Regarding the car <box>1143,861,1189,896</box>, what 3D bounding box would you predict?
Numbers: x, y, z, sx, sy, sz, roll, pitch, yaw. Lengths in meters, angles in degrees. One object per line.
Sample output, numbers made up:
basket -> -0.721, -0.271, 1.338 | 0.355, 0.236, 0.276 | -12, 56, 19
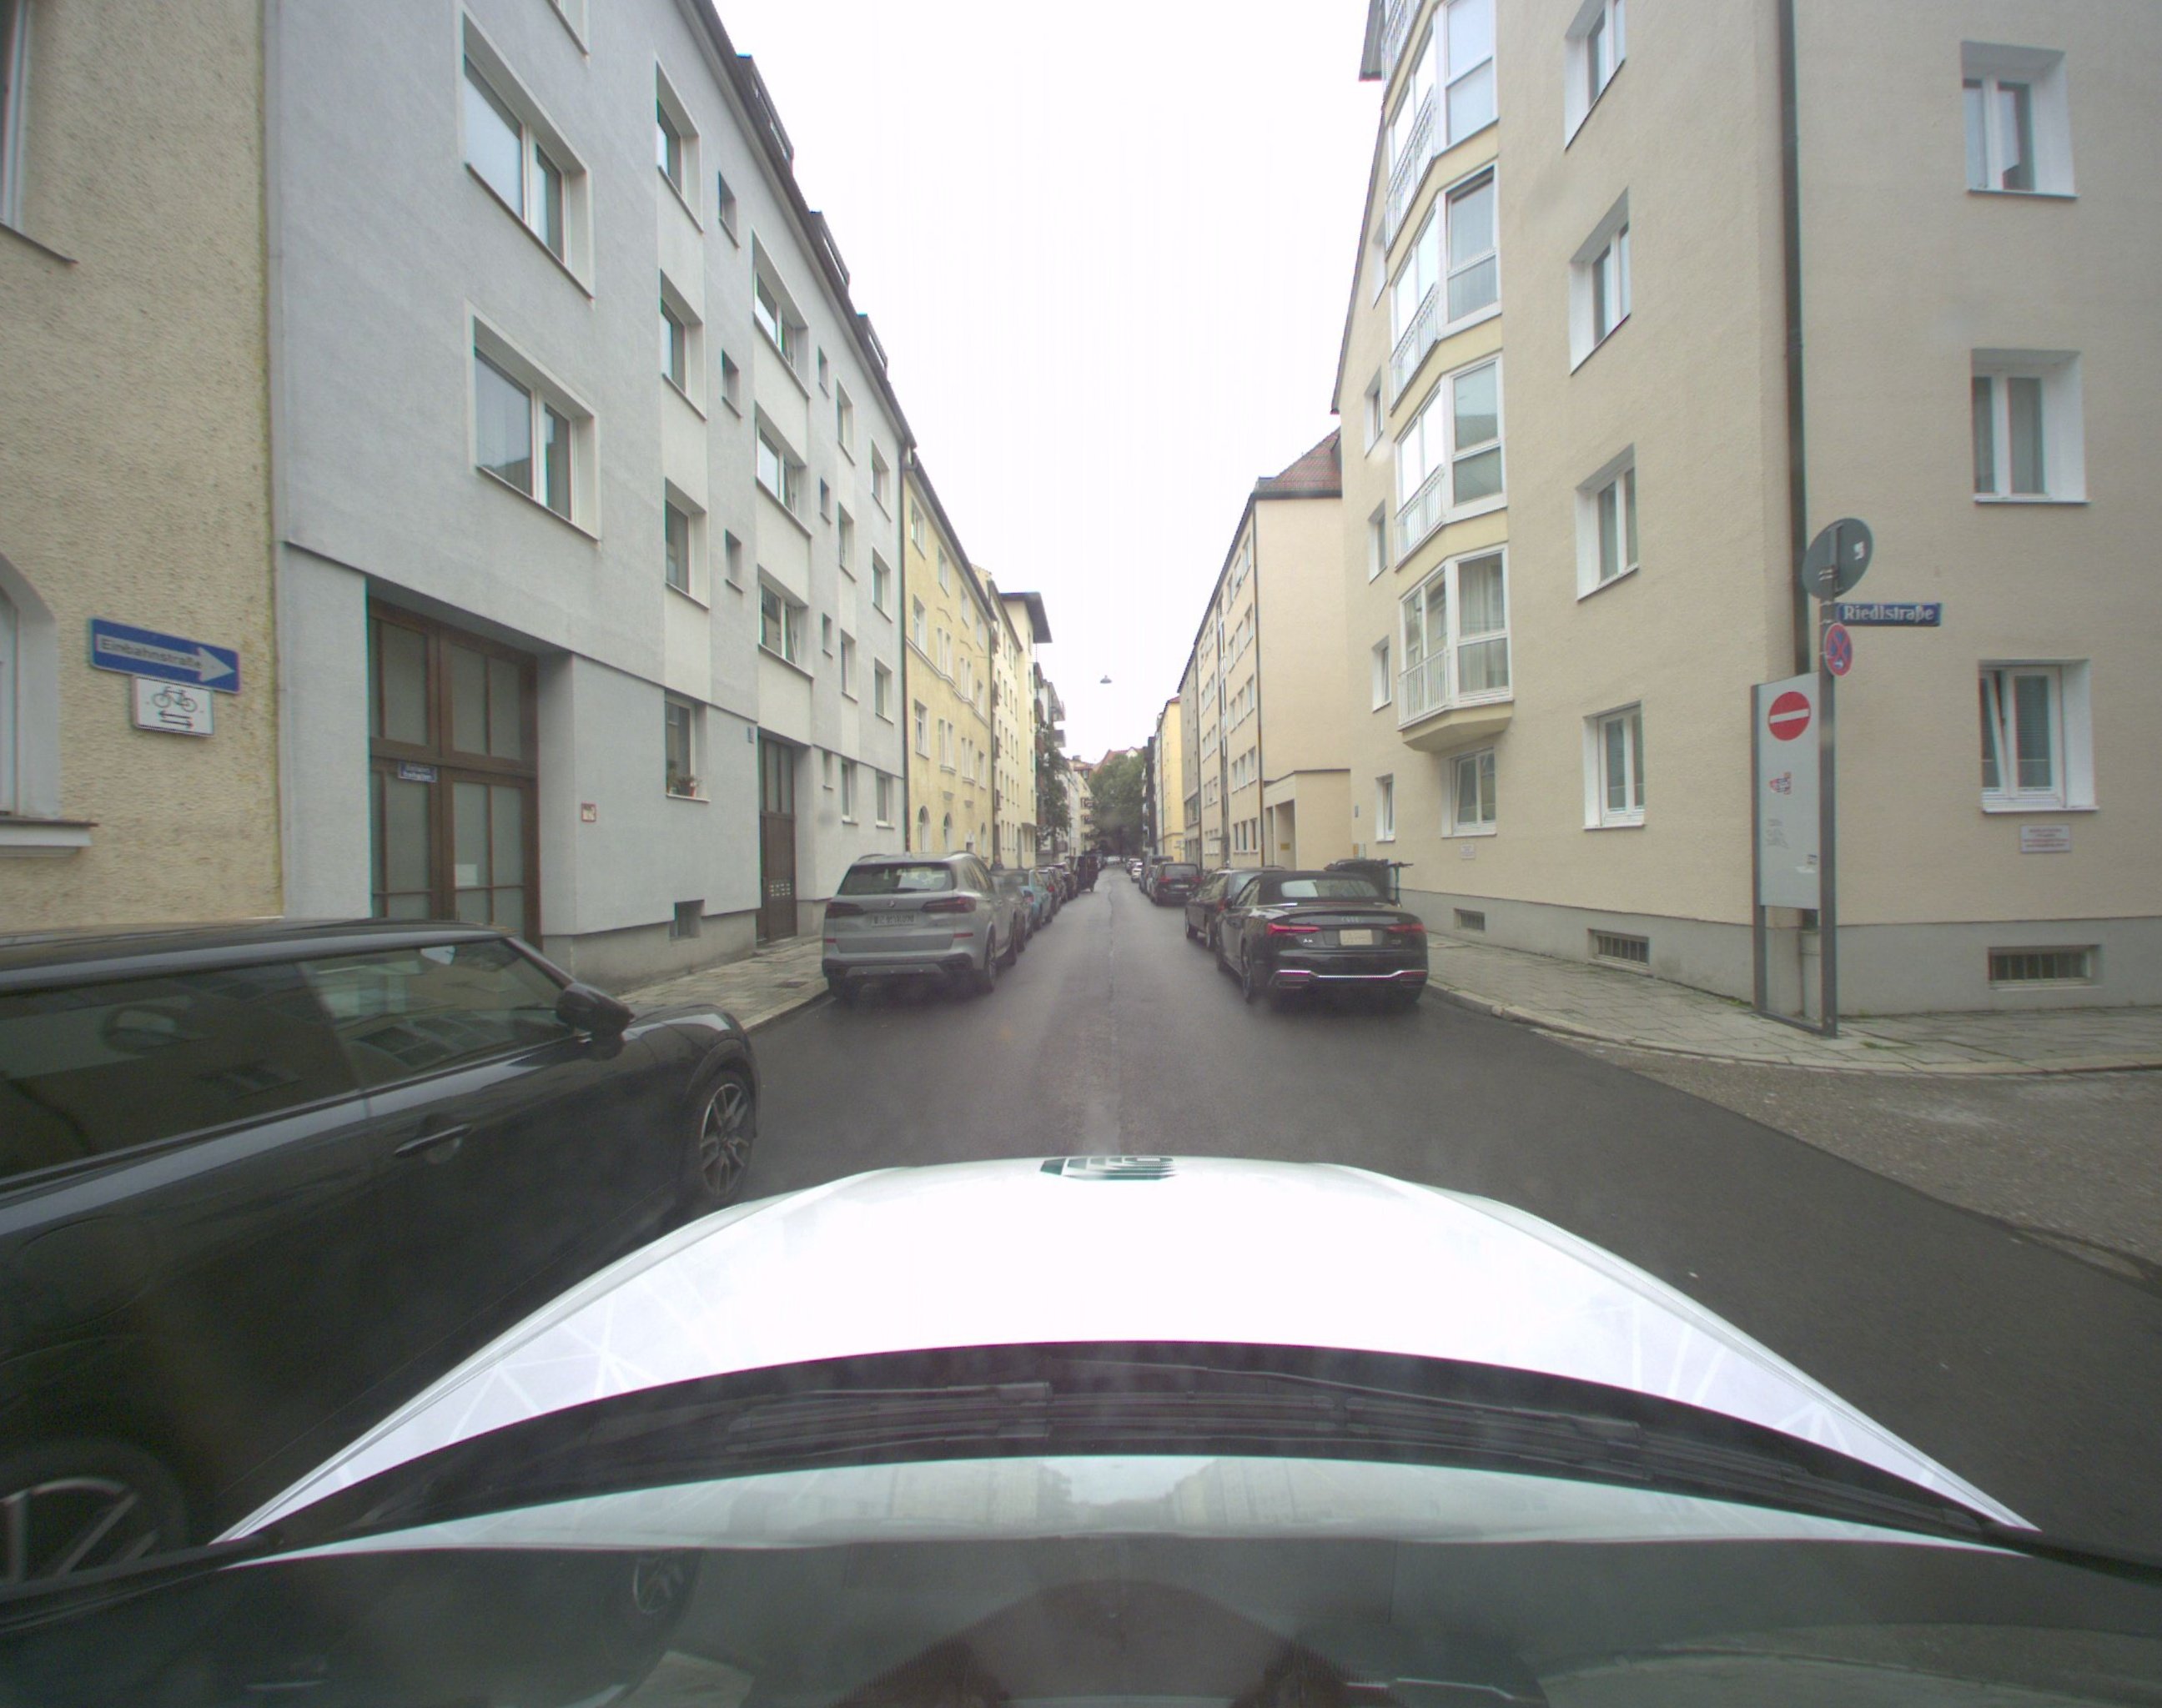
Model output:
car -> 3.823, 1.086, 37.228 | 1.706, 1.486, 4.243 | 0, -1, 0

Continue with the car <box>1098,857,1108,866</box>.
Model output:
car -> 3.804, 1.324, 141.771 | 1.636, 1.383, 3.484 | -4, 0, 2

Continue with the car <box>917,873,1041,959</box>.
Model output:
car -> -1.893, 1.132, 16.389 | 1.805, 1.386, 4.251 | -3, -1, 1

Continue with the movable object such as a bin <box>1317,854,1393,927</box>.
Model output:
movable object such as a bin -> 5.768, 0.756, 17.258 | 1.028, 1.423, 1.587 | -3, -1, 2

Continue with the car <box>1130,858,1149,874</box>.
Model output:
car -> 5.840, 1.184, 81.756 | 1.744, 1.469, 4.345 | 1, 0, 2

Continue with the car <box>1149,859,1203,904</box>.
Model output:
car -> 3.600, 1.034, 31.497 | 1.705, 1.608, 4.245 | 0, -1, 1

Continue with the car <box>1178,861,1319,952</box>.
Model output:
car -> 3.010, 0.894, 15.566 | 1.711, 1.471, 4.530 | 0, -1, -1

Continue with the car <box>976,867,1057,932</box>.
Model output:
car -> -1.585, 1.115, 21.178 | 1.556, 1.460, 3.407 | -2, -1, 4

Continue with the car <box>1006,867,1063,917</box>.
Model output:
car -> -1.463, 1.193, 27.025 | 1.557, 1.460, 3.764 | -2, -1, 1

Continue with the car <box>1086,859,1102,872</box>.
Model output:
car -> 1.687, 1.465, 103.739 | 1.769, 1.487, 4.523 | -4, 0, 3

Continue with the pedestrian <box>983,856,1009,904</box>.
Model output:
pedestrian -> -3.162, 0.949, 30.384 | 0.836, 1.764, 1.068 | 0, -1, 2

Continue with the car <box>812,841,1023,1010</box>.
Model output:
car -> -1.990, 0.831, 11.416 | 1.856, 1.770, 4.735 | -3, -1, 1

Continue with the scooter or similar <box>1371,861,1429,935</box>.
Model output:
scooter or similar -> 5.789, 0.785, 14.826 | 0.574, 1.266, 1.137 | -3, -1, 2

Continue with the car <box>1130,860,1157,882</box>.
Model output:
car -> 4.707, 1.273, 61.690 | 1.812, 1.408, 3.954 | 0, 2, 1

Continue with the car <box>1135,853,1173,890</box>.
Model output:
car -> 4.133, 0.968, 46.716 | 1.745, 1.975, 4.342 | 1, 0, 0

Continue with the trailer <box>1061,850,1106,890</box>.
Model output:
trailer -> 0.160, 0.858, 45.027 | 1.343, 2.116, 3.335 | -1, -1, 21

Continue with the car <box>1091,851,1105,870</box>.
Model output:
car -> 2.606, 0.985, 123.457 | 1.929, 2.801, 4.535 | -4, 0, 2

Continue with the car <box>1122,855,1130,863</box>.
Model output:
car -> 9.318, 1.006, 168.805 | 1.636, 1.383, 3.747 | -4, 0, 2

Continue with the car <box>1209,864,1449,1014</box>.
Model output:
car -> 2.688, 0.835, 9.914 | 1.825, 1.406, 4.415 | 0, -1, 4

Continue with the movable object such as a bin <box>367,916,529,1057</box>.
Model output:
movable object such as a bin -> -5.272, 1.080, 6.824 | 0.804, 1.051, 0.623 | 2, -1, 1

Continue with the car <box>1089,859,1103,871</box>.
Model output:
car -> 2.001, 1.505, 108.840 | 1.770, 1.453, 4.048 | -4, 0, 2

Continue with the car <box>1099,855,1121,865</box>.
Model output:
car -> 5.368, 1.199, 151.940 | 3.872, 1.584, 1.648 | -4, 0, 1

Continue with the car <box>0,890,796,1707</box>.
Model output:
car -> -2.443, 0.898, 2.523 | 1.646, 1.411, 3.736 | -3, -2, 2

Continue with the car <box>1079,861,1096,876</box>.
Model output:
car -> 0.701, 1.444, 84.606 | 1.687, 1.442, 3.978 | -2, 0, 1

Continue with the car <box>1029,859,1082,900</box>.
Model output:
car -> -1.074, 1.097, 36.671 | 1.871, 1.660, 4.419 | -2, -1, 4

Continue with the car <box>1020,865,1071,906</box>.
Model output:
car -> -1.355, 1.196, 32.041 | 1.556, 1.460, 3.479 | -2, -1, 4

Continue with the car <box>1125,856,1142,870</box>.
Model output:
car -> 5.858, 0.980, 91.680 | 1.676, 1.567, 4.416 | 1, 0, 1
